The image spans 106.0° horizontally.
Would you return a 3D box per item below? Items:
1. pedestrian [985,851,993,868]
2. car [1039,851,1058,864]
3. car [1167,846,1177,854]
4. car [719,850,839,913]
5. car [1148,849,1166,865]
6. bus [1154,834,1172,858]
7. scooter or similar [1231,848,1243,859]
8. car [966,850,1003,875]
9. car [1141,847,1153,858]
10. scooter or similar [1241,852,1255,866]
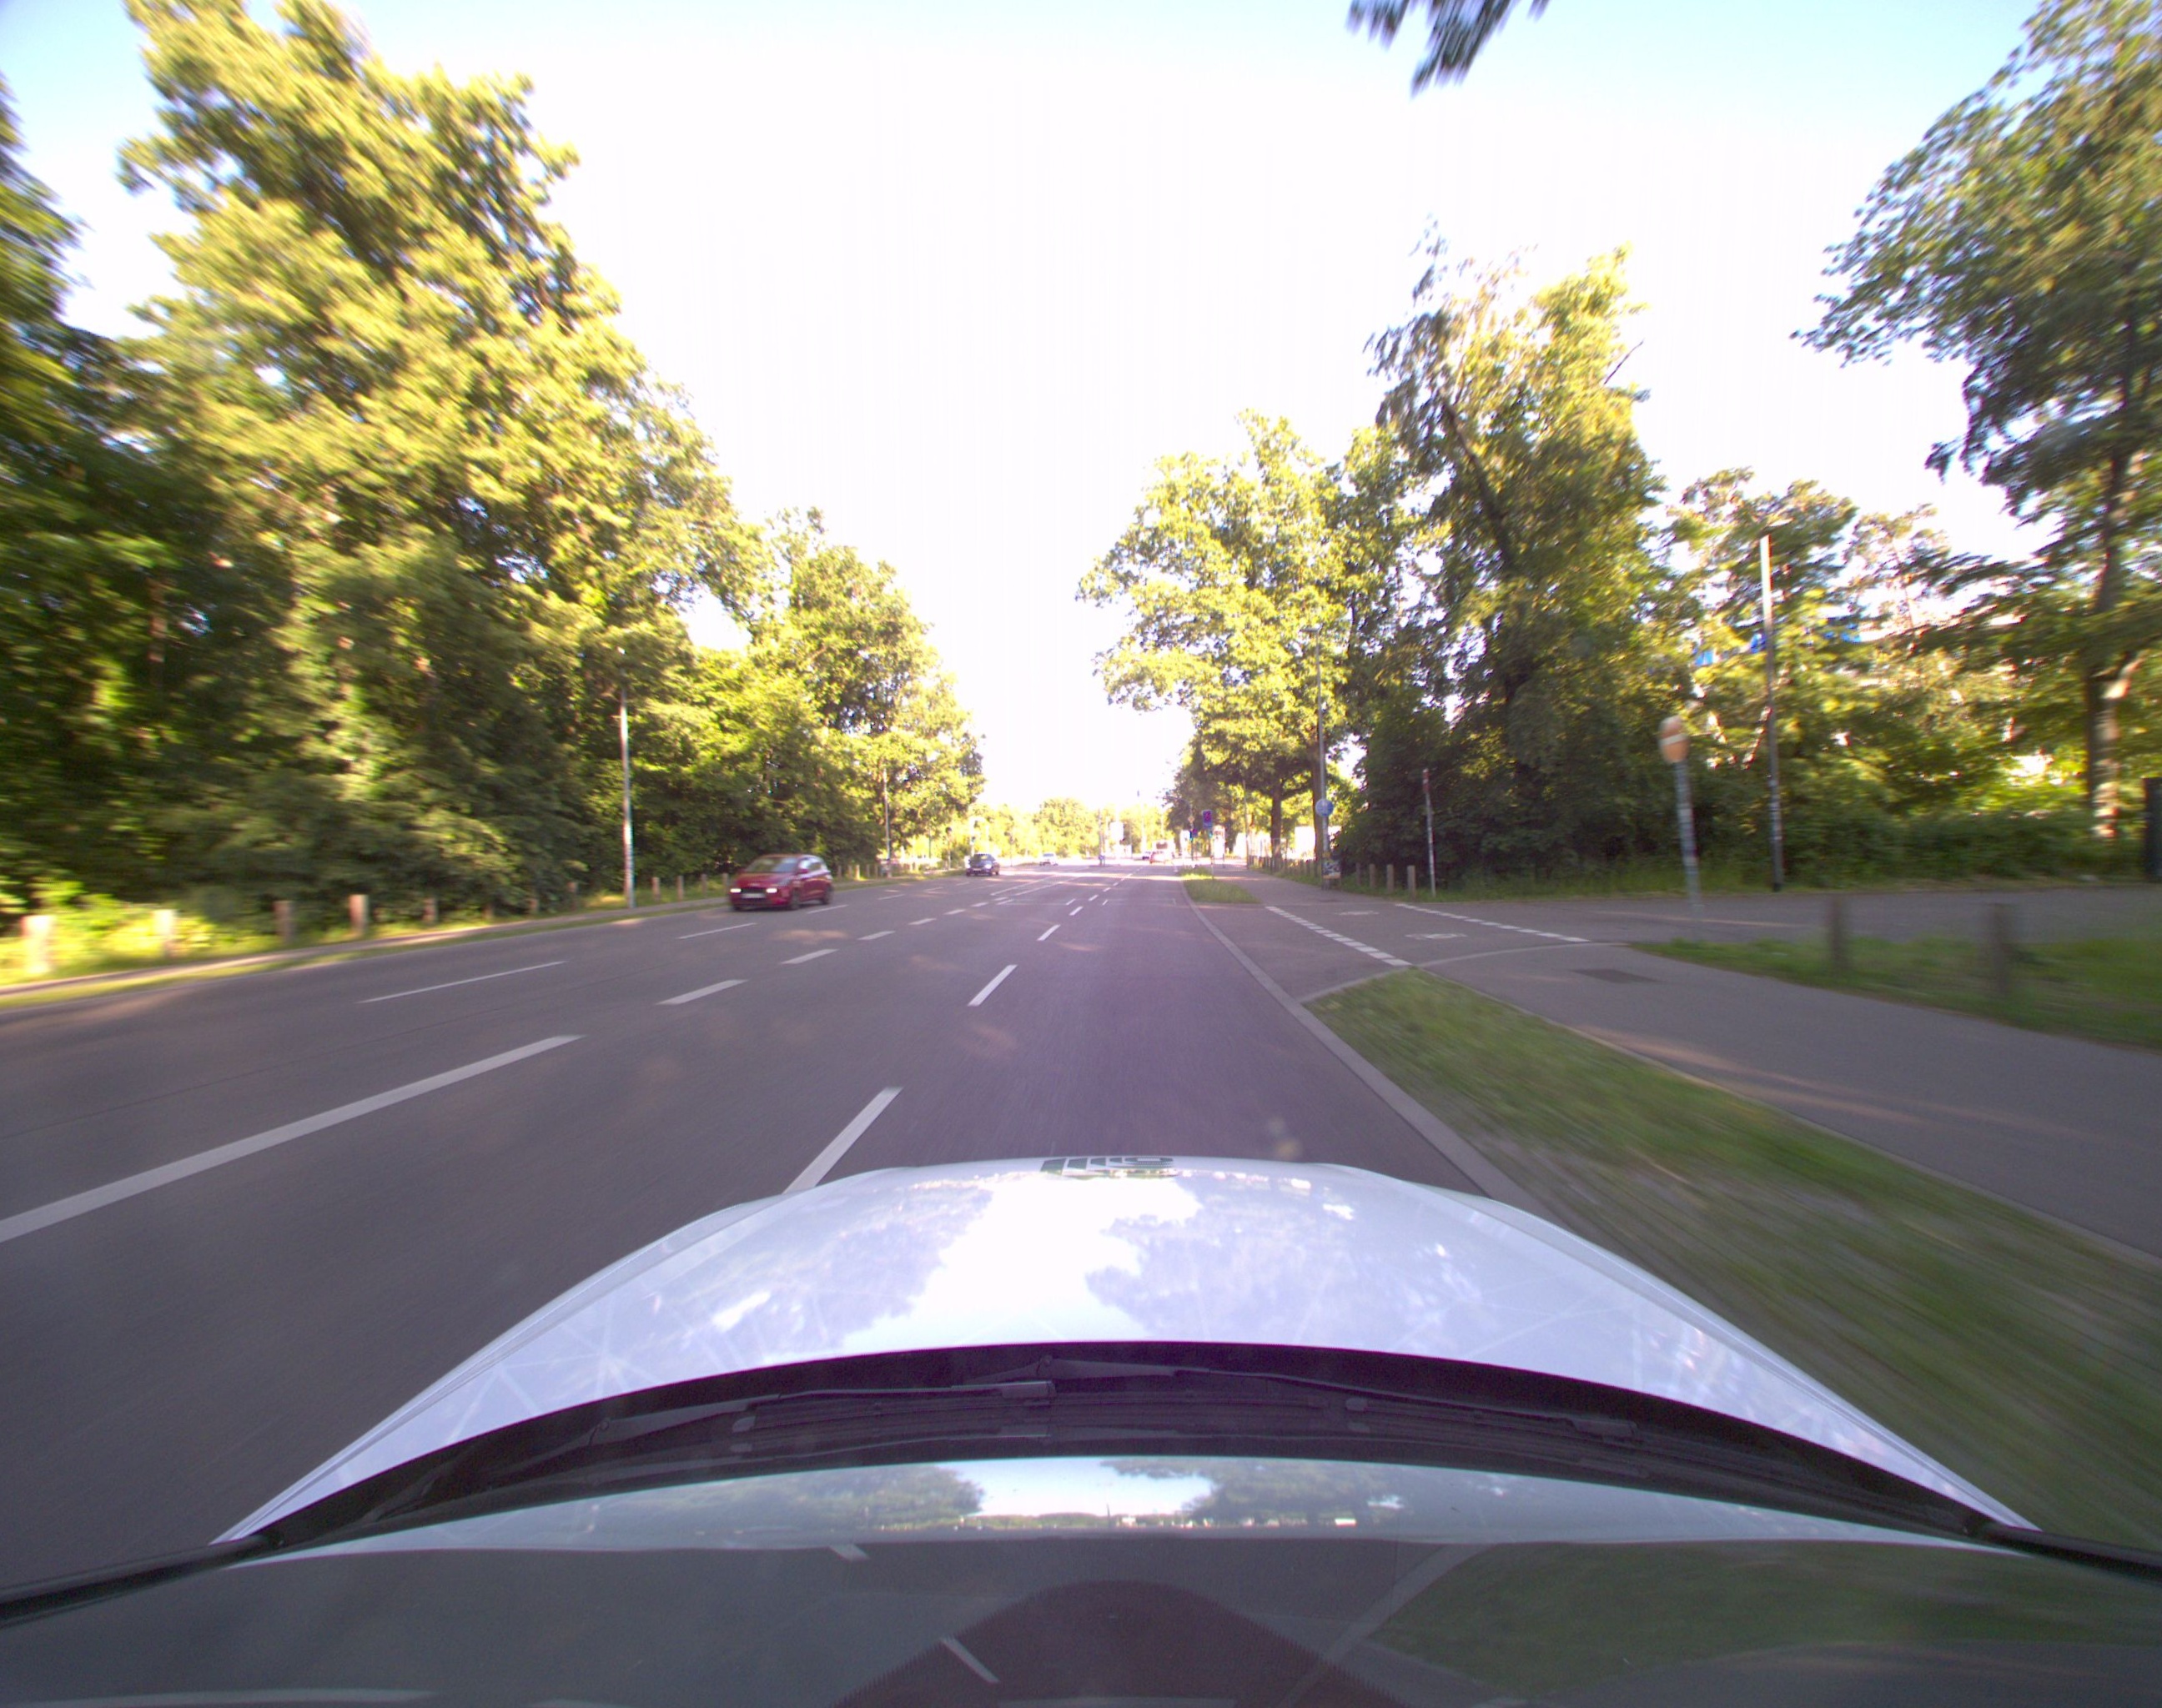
[{"bbox_3d":[-10.467,0.576,92.915,0.609,1.909,1.108,-2,-1,6],"label":"pedestrian"},{"bbox_3d":[-3.584,0.351,90.601,1.703,1.464,4.104,0,0,3],"label":"car"},{"bbox_3d":[19.490,-0.926,174.536,1.851,1.684,3.783,-3,0,10],"label":"car"},{"bbox_3d":[-8.214,0.689,22.499,1.656,1.518,3.810,-2,0,3],"label":"car"},{"bbox_3d":[8.757,0.333,93.622,1.871,1.765,4.007,-2,1,6],"label":"car"},{"bbox_3d":[12.161,-1.159,121.226,2.592,3.368,7.988,-1,1,6],"label":"bus"},{"bbox_3d":[18.370,-0.071,95.720,0.562,1.256,1.610,-2,0,44],"label":"scooter or similar"},{"bbox_3d":[-6.275,0.521,53.240,1.648,1.508,4.005,-2,0,4],"label":"car"},{"bbox_3d":[11.265,-0.251,139.585,1.871,1.765,4.007,-2,1,6],"label":"car"},{"bbox_3d":[16.579,0.456,80.917,1.368,1.287,0.597,-2,5,-37],"label":"scooter or similar"}]
